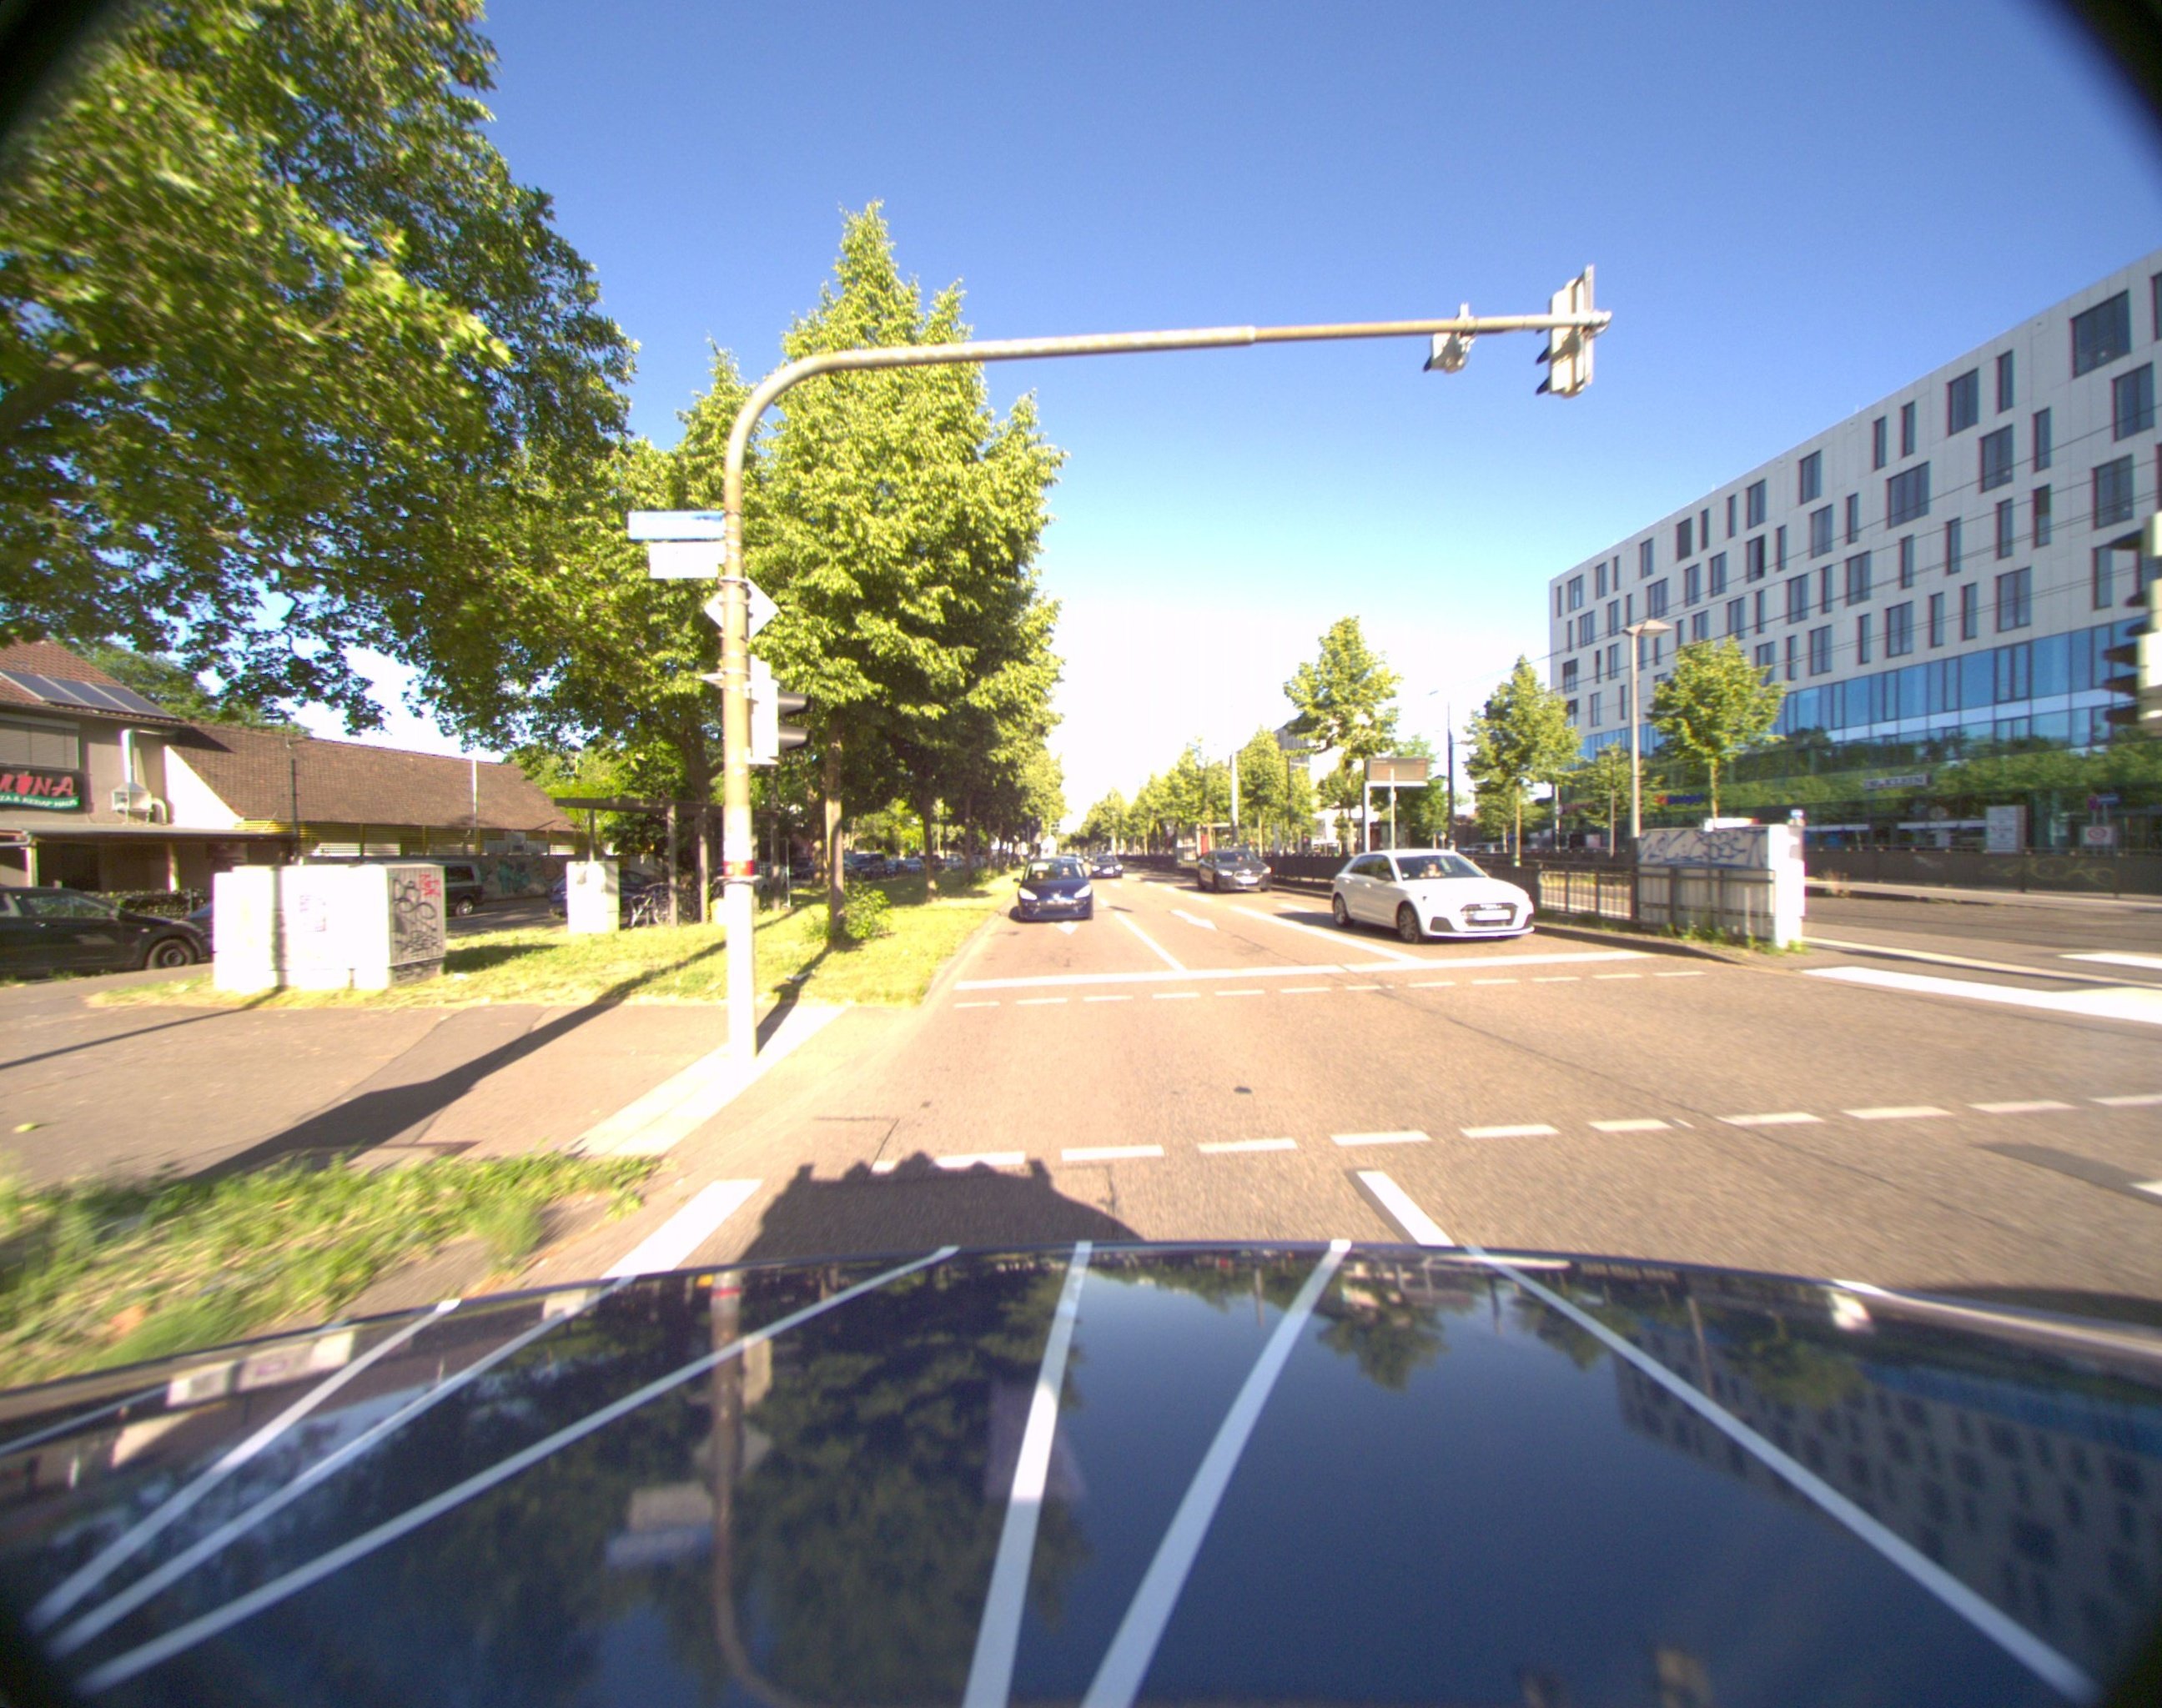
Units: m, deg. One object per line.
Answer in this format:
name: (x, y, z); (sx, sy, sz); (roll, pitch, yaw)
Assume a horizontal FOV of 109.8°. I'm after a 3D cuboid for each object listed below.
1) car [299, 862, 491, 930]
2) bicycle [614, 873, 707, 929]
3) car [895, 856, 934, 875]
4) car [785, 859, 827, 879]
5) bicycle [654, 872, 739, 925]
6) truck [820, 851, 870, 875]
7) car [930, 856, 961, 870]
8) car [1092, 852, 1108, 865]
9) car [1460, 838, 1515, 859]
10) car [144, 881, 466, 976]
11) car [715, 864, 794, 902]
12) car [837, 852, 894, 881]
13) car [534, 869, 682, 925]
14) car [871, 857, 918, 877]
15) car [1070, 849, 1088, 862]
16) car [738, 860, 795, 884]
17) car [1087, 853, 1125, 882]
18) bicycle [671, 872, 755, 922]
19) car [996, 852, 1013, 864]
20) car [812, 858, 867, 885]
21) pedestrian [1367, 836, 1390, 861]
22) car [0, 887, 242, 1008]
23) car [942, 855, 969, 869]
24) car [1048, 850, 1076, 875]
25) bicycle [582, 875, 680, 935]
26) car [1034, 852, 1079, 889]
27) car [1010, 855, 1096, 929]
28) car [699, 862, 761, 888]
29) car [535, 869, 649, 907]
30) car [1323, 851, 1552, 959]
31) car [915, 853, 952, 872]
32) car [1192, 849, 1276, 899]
car: (-23.044, 1.311, 25.894); (1.898, 2.025, 5.070); (0, 0, 0)
bicycle: (-9.281, 1.029, 16.800); (1.700, 1.162, 0.551); (-2, 1, 1)
car: (-13.542, 0.895, 62.124); (1.998, 1.355, 4.866); (-2, 0, 1)
car: (-22.282, 1.195, 61.690); (1.795, 1.394, 4.172); (-2, 0, 2)
bicycle: (-9.101, 1.040, 18.015); (1.700, 1.162, 0.551); (-2, 1, 0)
truck: (-21.946, 0.796, 71.069); (2.455, 2.063, 6.580); (-2, 0, 1)
car: (-12.956, 0.831, 72.981); (1.998, 1.203, 4.114); (-2, 0, 3)
car: (2.209, 0.498, 90.818); (1.675, 1.418, 4.005); (-3, 1, -1)
car: (32.379, -0.436, 60.635); (1.803, 1.518, 4.342); (-3, 1, -3)
car: (-15.206, 1.376, 15.339); (1.898, 1.403, 4.346); (-2, 0, 2)
car: (-14.706, 1.257, 34.487); (1.899, 1.477, 4.049); (-2, 0, -2)
car: (-13.920, 0.758, 49.395); (2.037, 1.732, 5.021); (-2, 0, 2)
car: (-15.154, 1.333, 24.686); (1.898, 1.479, 4.347); (-2, 0, 3)
car: (-13.500, 0.936, 55.207); (1.998, 1.242, 4.655); (-2, 0, 3)
car: (-0.172, 0.156, 89.603); (1.998, 1.543, 4.000); (-1, 0, 1)
car: (-22.714, 1.264, 55.119); (1.998, 1.520, 4.654); (-2, 0, 2)
car: (1.429, 0.777, 44.970); (1.803, 1.518, 4.342); (-3, 1, -3)
bicycle: (-9.224, 1.062, 19.064); (1.807, 1.162, 0.551); (-2, 1, 2)
car: (-10.691, 0.539, 106.964); (1.999, 1.576, 3.999); (-2, 0, -1)
car: (-14.014, 0.985, 44.294); (1.943, 1.372, 3.913); (-2, 0, 0)
pedestrian: (18.453, -0.346, 47.132); (1.068, 1.458, 0.844); (-2, 1, 3)
car: (-15.227, 1.331, 10.860); (1.898, 1.457, 4.037); (-2, 0, 1)
car: (-12.917, 0.800, 78.530); (1.998, 1.308, 4.545); (-2, 0, 1)
car: (-1.285, 0.571, 52.731); (1.803, 1.518, 4.604); (-3, 1, 0)
bicycle: (-9.251, 1.048, 15.647); (1.699, 1.162, 0.551); (-2, 1, 7)
car: (-1.103, 0.726, 36.217); (1.803, 1.518, 4.605); (-3, 1, 1)
car: (-0.580, 0.838, 19.062); (1.803, 1.518, 4.605); (-3, 1, 1)
car: (-22.826, 1.318, 49.591); (1.999, 1.520, 4.653); (1, 0, -2)
car: (-22.822, 1.541, 35.750); (1.898, 1.477, 4.914); (-2, 0, 3)
car: (5.609, 0.700, 12.577); (1.676, 1.418, 4.004); (-3, 1, -4)
car: (-13.069, 0.713, 67.510); (1.998, 1.587, 4.655); (-2, 0, 4)
car: (5.228, 0.635, 26.512); (1.803, 1.518, 4.342); (-3, 1, -3)
